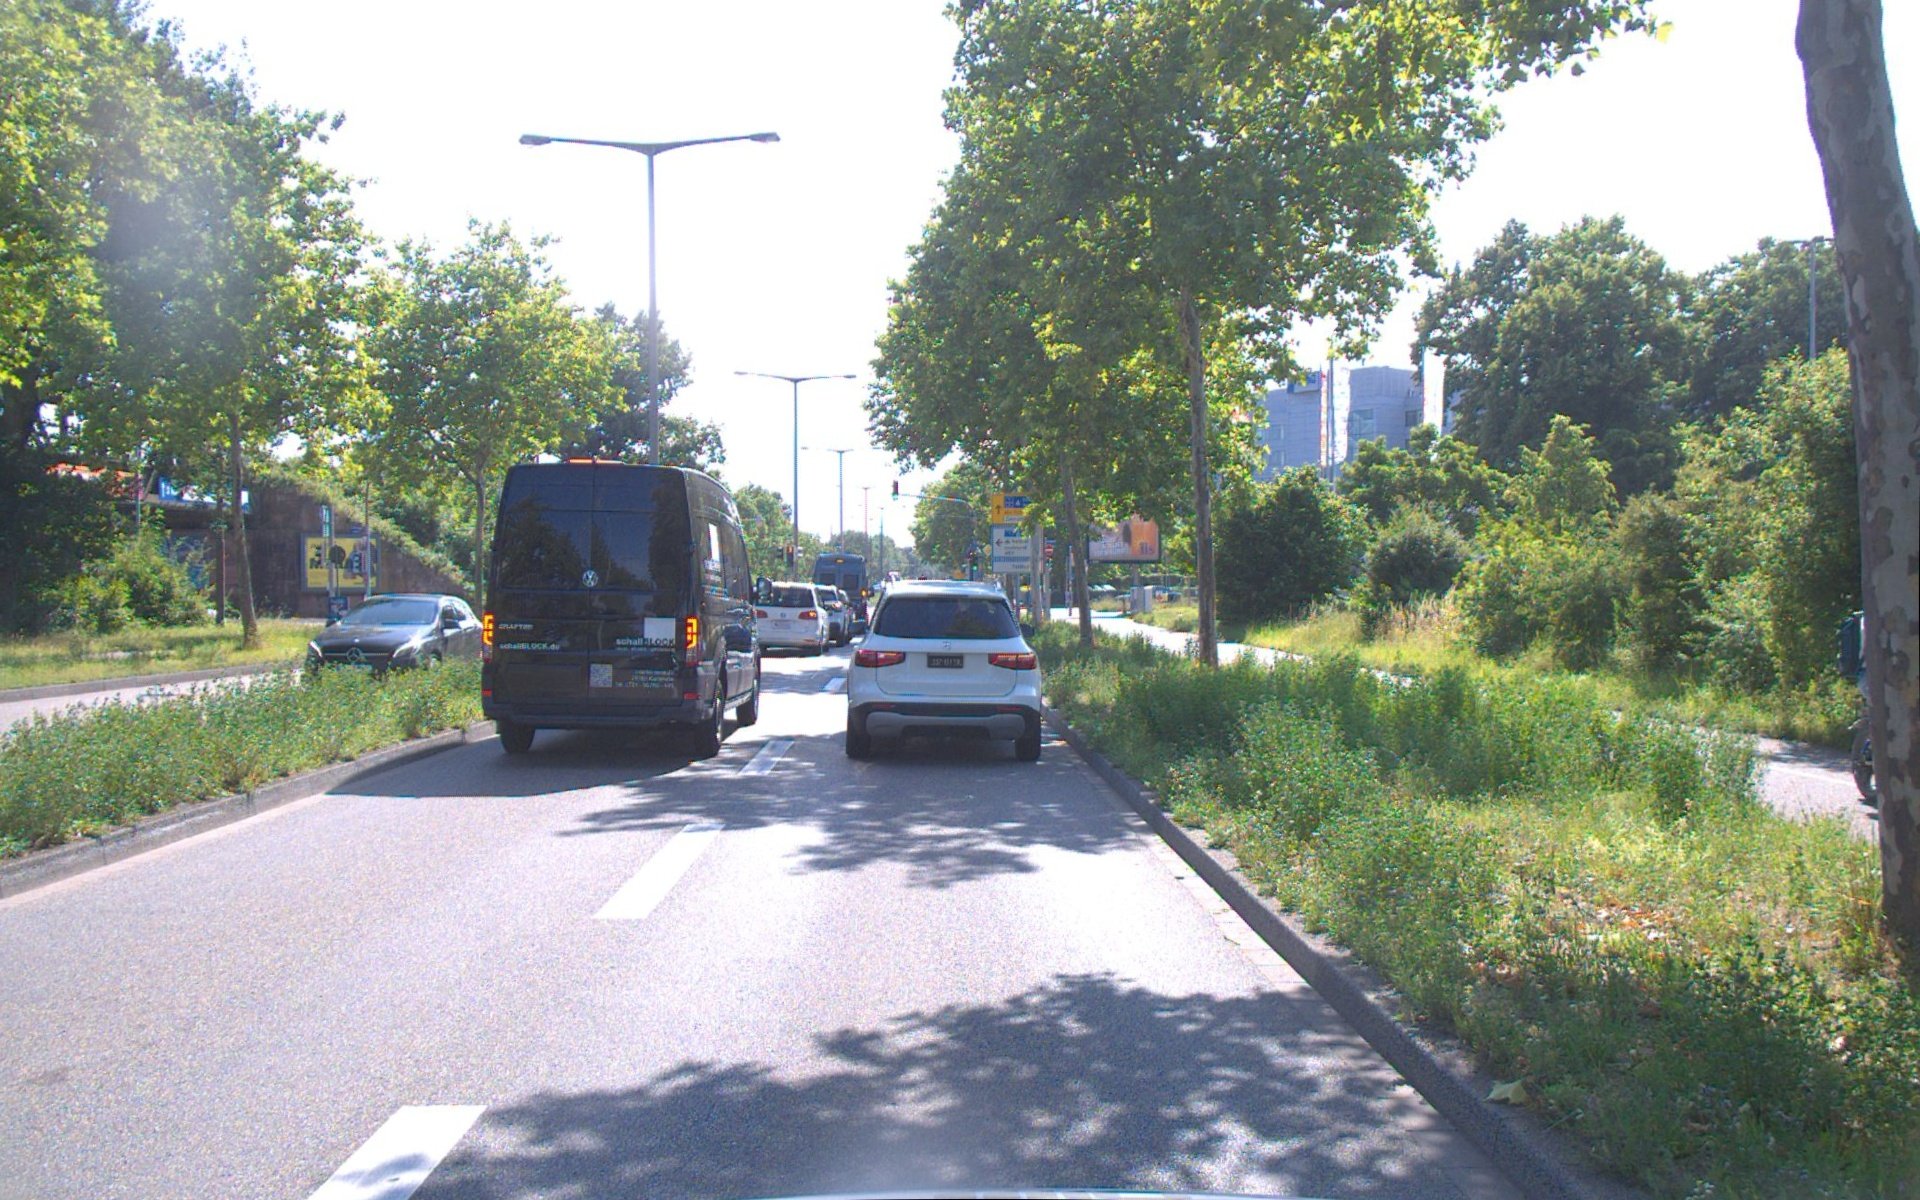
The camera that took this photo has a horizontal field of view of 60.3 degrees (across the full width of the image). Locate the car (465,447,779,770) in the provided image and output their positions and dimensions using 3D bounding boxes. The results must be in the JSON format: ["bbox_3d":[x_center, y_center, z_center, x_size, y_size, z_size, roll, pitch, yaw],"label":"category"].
[{"bbox_3d":[-3.145,0.068,16.832,1.975,2.653,6.167,1,0,-1],"label":"car"}]

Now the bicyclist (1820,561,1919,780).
[{"bbox_3d":[6.798,0.486,11.886,0.690,1.503,1.009,1,0,-1],"label":"bicyclist"}]

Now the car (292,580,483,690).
[{"bbox_3d":[-8.466,0.483,24.772,1.570,1.497,3.789,1,0,-1],"label":"car"}]

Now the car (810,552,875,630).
[{"bbox_3d":[-4.281,-0.326,60.814,2.039,2.703,4.873,1,0,-1],"label":"car"}]

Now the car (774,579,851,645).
[{"bbox_3d":[-3.930,0.317,44.683,1.735,1.676,4.084,1,0,-1],"label":"car"}]

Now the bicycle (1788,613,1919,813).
[{"bbox_3d":[6.778,0.767,11.758,0.708,1.321,2.095,1,0,-1],"label":"bicycle"}]

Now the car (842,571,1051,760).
[{"bbox_3d":[-0.150,0.566,16.431,1.816,1.635,3.999,0,0,-1],"label":"car"}]

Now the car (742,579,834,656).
[{"bbox_3d":[-3.969,0.380,38.731,1.735,1.676,4.351,1,0,-1],"label":"car"}]
